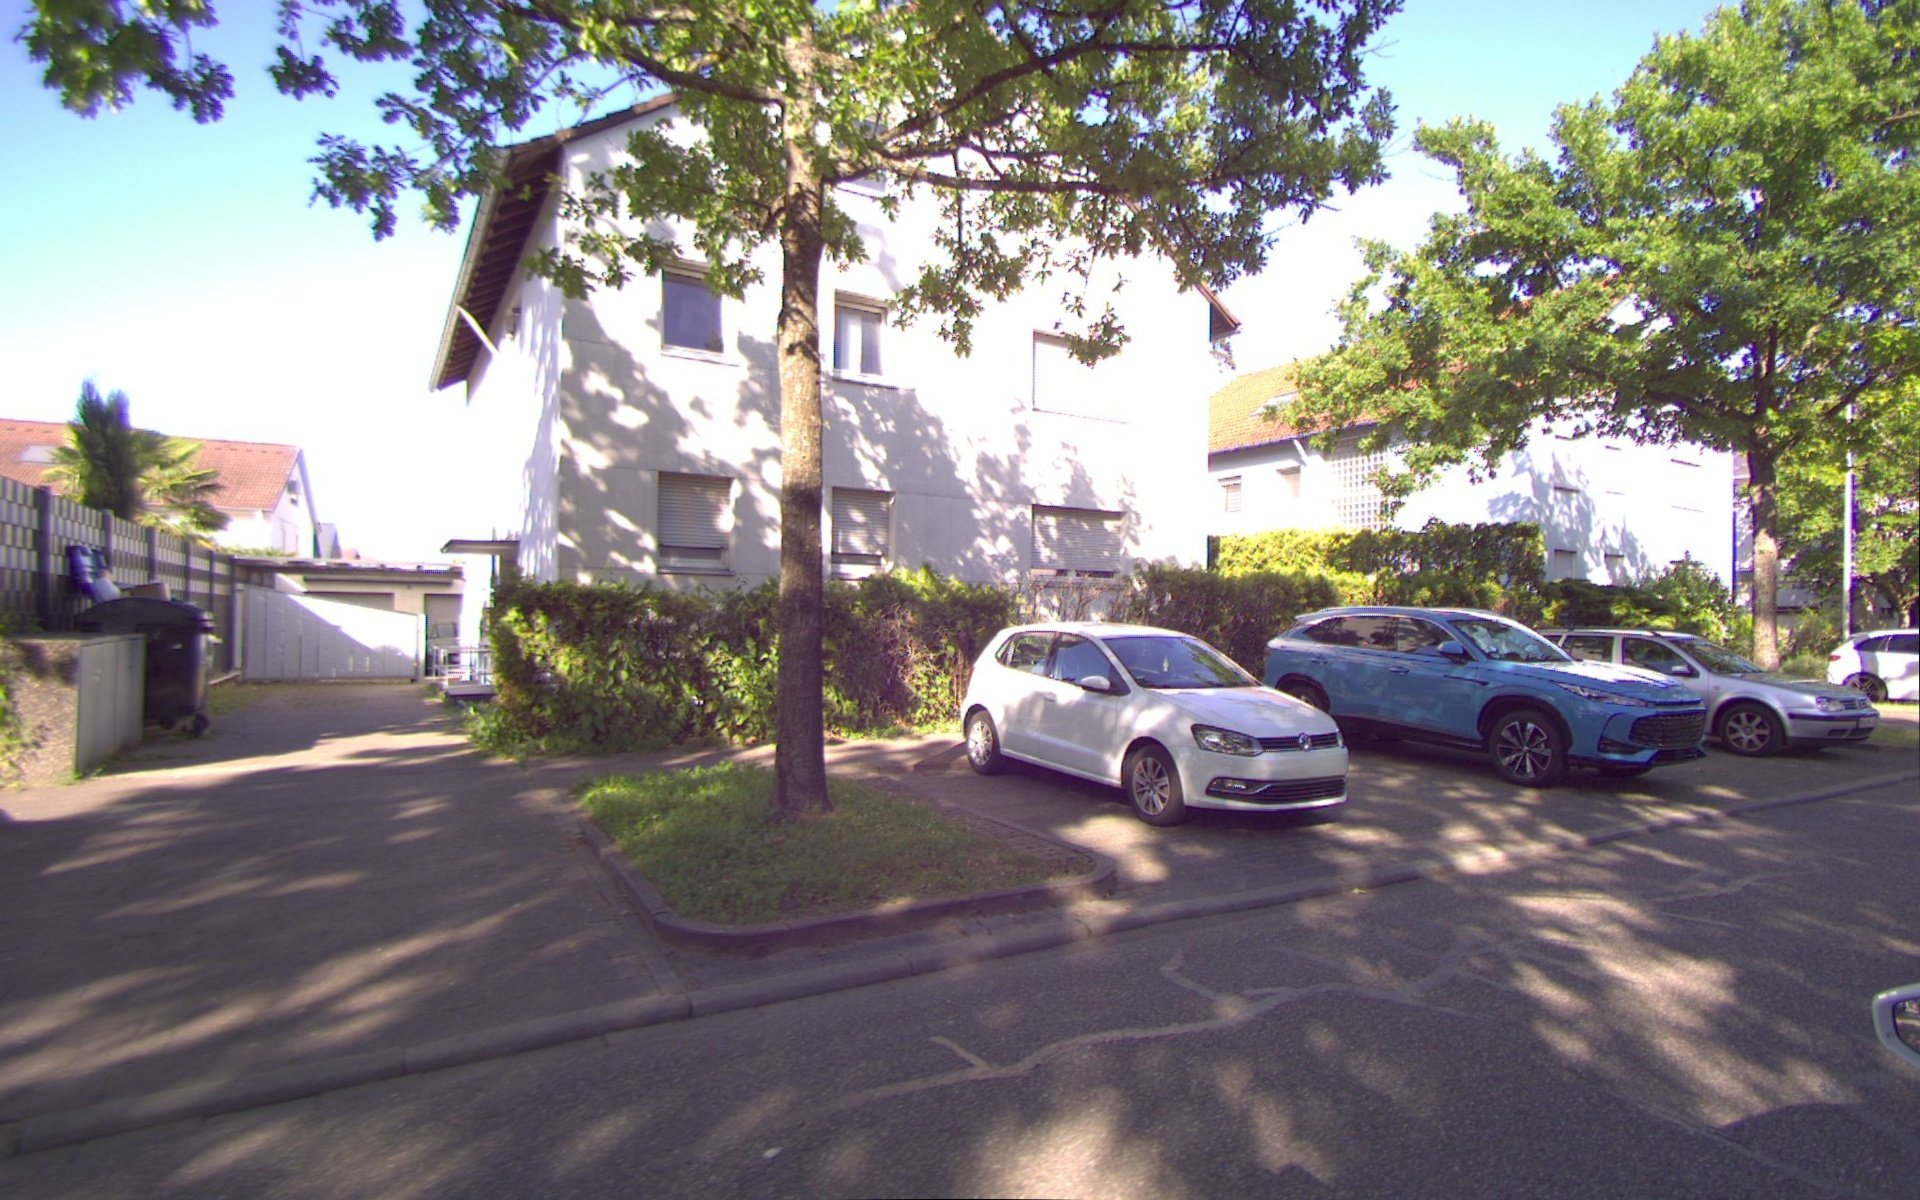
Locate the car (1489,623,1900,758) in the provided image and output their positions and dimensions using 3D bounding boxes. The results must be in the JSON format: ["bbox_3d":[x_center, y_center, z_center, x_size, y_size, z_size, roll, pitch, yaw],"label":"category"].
[{"bbox_3d":[9.528,1.075,13.428,1.627,1.511,4.164,2,-2,-29],"label":"car"}]

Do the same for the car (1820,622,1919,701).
[{"bbox_3d":[19.668,1.230,19.441,1.748,1.498,4.255,1,0,-30],"label":"car"}]

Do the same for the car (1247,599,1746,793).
[{"bbox_3d":[5.509,0.854,10.996,1.914,1.653,4.503,2,-1,-29],"label":"car"}]
